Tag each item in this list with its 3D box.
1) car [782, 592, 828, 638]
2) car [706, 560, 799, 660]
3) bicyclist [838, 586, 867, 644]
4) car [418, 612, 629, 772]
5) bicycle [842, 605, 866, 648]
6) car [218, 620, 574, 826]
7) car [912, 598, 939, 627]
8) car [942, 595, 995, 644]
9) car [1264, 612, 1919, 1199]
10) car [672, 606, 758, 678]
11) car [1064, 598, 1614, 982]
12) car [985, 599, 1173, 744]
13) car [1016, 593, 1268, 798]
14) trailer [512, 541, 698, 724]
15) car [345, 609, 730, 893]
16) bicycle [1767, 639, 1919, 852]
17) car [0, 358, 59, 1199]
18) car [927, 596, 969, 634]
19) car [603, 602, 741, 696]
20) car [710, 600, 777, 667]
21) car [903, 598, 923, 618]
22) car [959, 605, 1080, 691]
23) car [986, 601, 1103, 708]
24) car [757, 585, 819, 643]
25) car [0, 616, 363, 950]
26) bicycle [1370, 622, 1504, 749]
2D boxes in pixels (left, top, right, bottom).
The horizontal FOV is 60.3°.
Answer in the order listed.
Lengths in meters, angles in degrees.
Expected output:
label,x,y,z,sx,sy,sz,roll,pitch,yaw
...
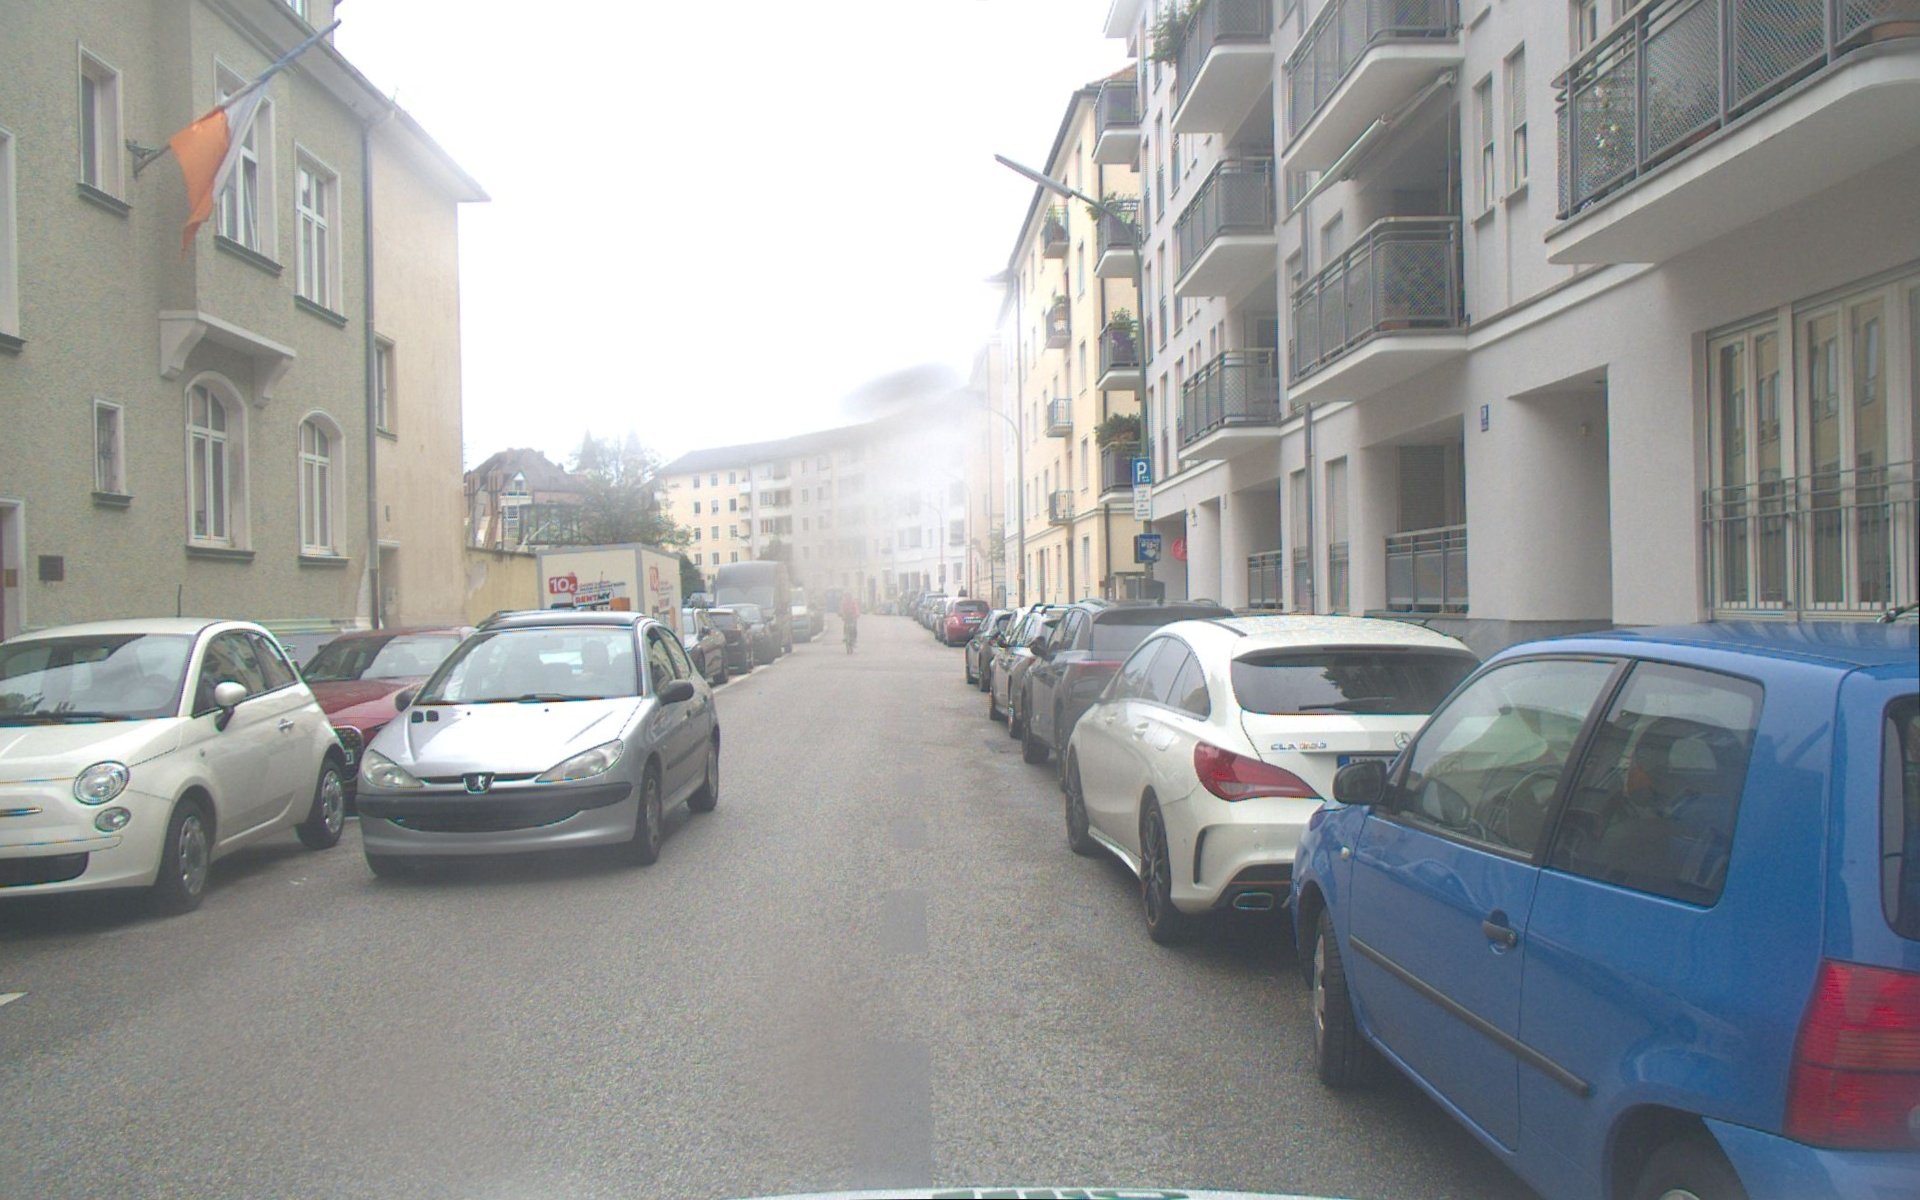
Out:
label,x,y,z,sx,sy,sz,roll,pitch,yaw
car,-6.297,0.575,67.554,1.668,1.720,4.025,-3,1,-3
car,-5.926,0.248,47.849,2.045,2.682,5.376,-1,1,-1
bicyclist,-3.015,0.421,46.493,0.680,1.589,0.966,-2,0,0
car,-5.207,1.028,20.219,1.653,1.631,3.919,-3,0,-3
bicycle,-2.978,0.733,46.582,0.494,1.148,1.773,-2,0,1
car,-4.745,0.944,14.605,1.824,1.437,4.330,-3,-1,-4
car,-2.088,0.718,98.954,1.445,1.669,3.998,0,0,-4
car,0.241,0.616,54.280,1.563,1.535,3.799,-1,0,-2
car,1.999,0.768,4.143,1.587,1.437,3.550,1,0,-4
car,-5.528,0.908,37.723,1.667,1.471,3.821,0,1,-5
car,1.616,0.743,8.524,1.625,1.465,4.204,1,0,-3
car,1.343,0.786,20.459,1.699,1.557,4.618,1,0,-3
car,1.487,0.746,14.825,1.572,1.557,3.981,1,0,-3
trailer,-5.347,0.442,25.499,1.674,2.504,4.387,-3,0,2
car,-2.459,0.802,10.457,1.549,1.436,3.611,-2,0,-1
bicycle,5.043,0.730,8.632,0.664,1.046,1.833,-1,-2,-3
car,-2.423,0.538,0.603,1.735,1.835,4.571,-1,0,-1
car,-0.522,0.617,69.953,1.567,1.517,3.797,-1,1,-3
car,-5.387,0.871,31.456,1.730,1.565,4.541,-3,0,0
car,-5.525,0.828,42.469,1.555,1.565,3.539,-2,0,-6
car,-3.155,0.510,110.775,1.247,1.321,2.795,-1,0,-4
car,1.023,0.832,30.321,1.729,1.432,4.074,-1,0,-5
car,1.281,0.806,26.190,1.489,1.557,3.524,0,0,-3
car,-6.259,0.473,60.552,1.845,1.965,4.599,-3,1,-2
car,-4.645,0.886,9.351,1.444,1.492,3.311,-2,0,-4
bicycle,4.906,0.847,17.170,0.615,1.180,2.125,-1,0,-4
